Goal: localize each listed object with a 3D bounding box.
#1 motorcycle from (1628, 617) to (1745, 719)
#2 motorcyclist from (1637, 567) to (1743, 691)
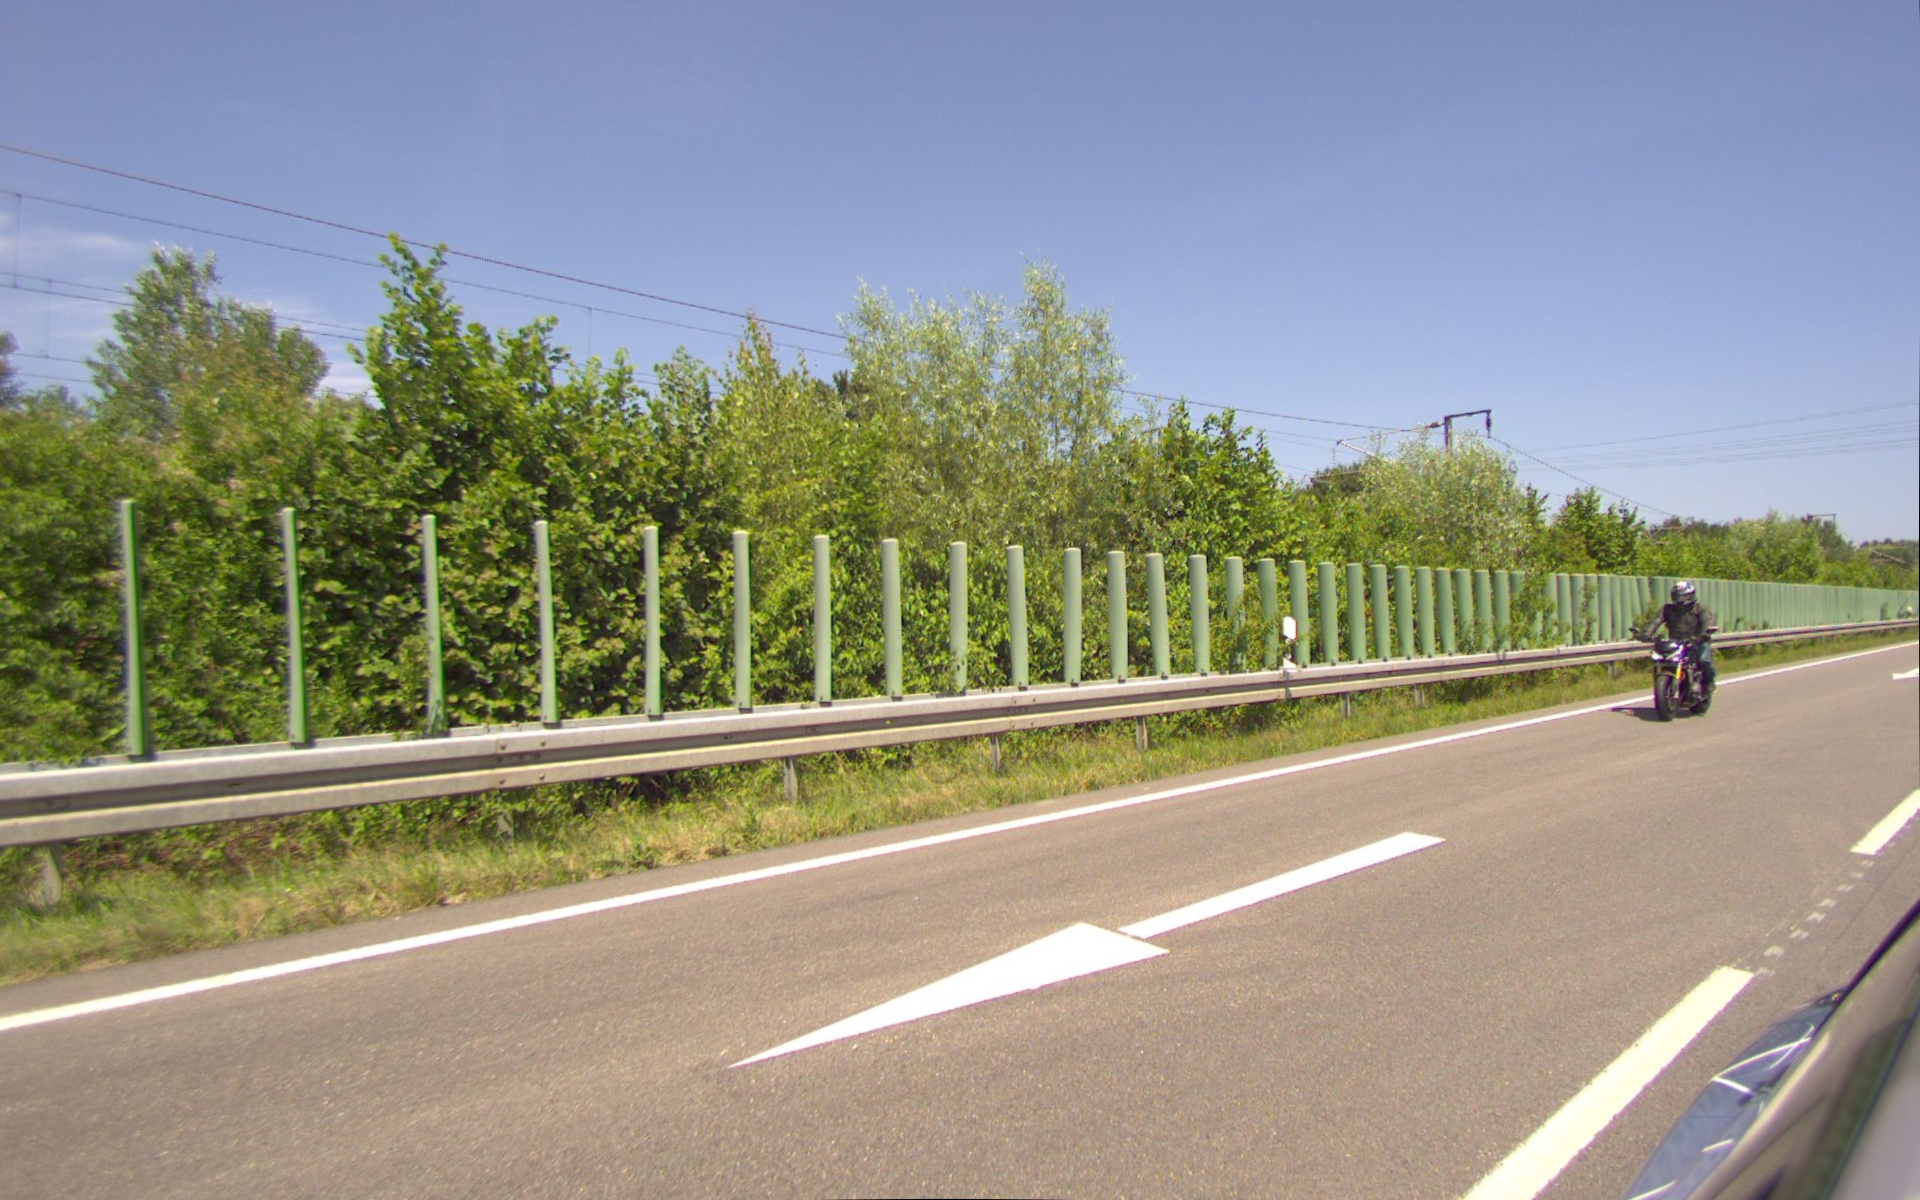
[{"bbox_3d":[9.269,0.819,12.883,1.868,1.172,0.791,0,-1,-41],"label":"motorcycle"},{"bbox_3d":[9.347,0.348,12.959,0.984,1.495,0.891,0,0,-40],"label":"motorcyclist"}]
